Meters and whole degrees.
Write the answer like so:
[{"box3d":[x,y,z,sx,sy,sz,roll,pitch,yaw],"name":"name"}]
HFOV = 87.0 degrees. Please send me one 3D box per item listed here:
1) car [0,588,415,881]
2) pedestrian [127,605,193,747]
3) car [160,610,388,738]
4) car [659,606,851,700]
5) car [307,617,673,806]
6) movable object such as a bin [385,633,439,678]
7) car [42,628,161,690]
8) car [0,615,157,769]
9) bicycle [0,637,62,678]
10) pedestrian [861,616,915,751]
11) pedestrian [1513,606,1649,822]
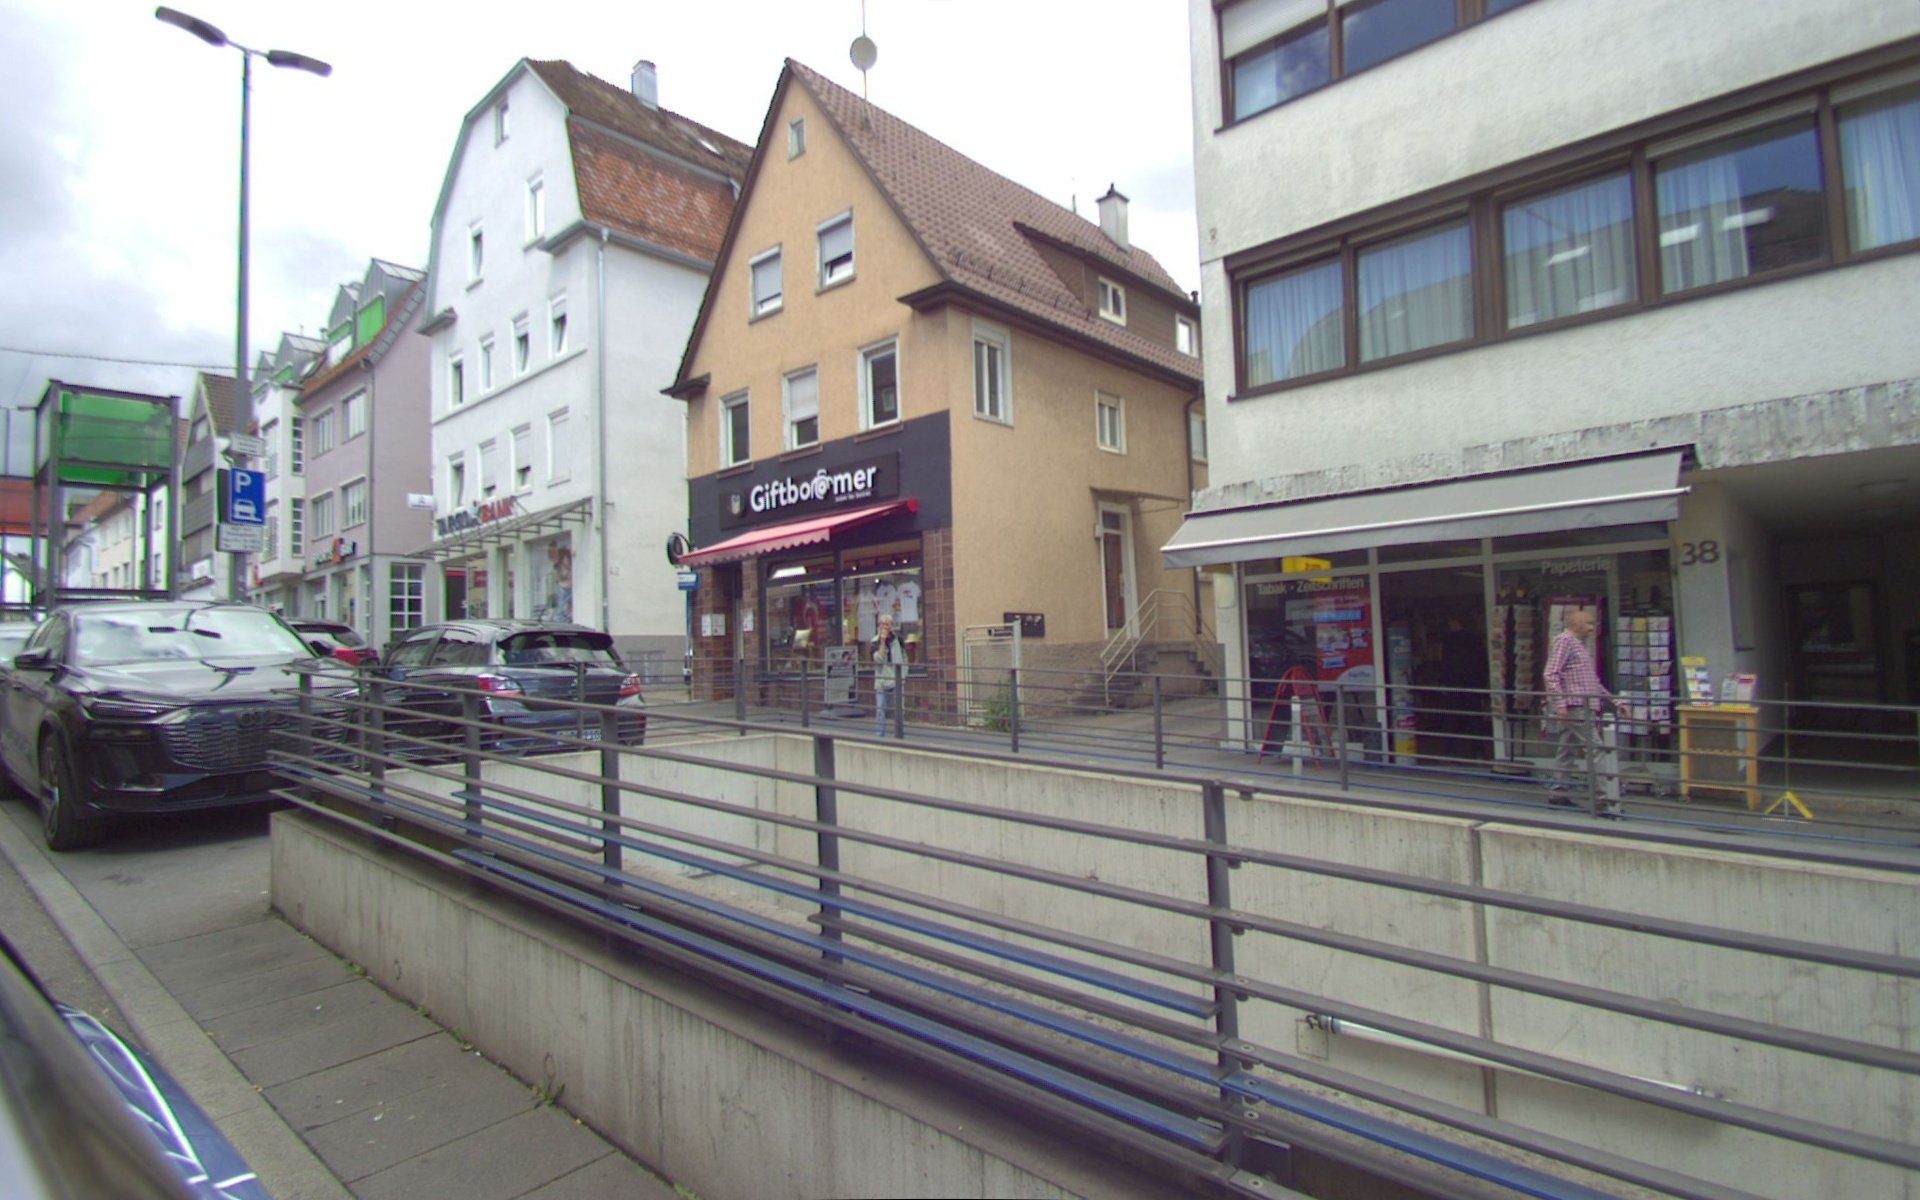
[{"box3d":[-6.151,0.792,7.868,4.311,1.652,1.936,-1,-1,40],"name":"car"},{"box3d":[-9.885,0.916,12.499,0.901,1.685,0.527,-3,-3,44],"name":"pedestrian"},{"box3d":[-9.923,0.961,14.517,4.191,1.554,1.721,-1,-1,41],"name":"car"},{"box3d":[-4.703,1.159,23.607,1.883,1.887,4.026,-2,-1,43],"name":"car"},{"box3d":[-4.710,0.981,9.928,3.881,1.487,1.721,-1,-5,40],"name":"car"},{"box3d":[-17.699,1.770,32.689,1.067,1.387,1.270,-2,-2,41],"name":"movable object such as a bin"},{"box3d":[-22.051,1.479,25.961,3.850,1.486,1.553,-1,-3,38],"name":"car"},{"box3d":[-10.872,0.980,11.908,3.669,1.544,1.603,-1,-1,41],"name":"car"},{"box3d":[-29.065,1.770,31.359,0.459,1.232,1.760,-1,-3,40],"name":"bicycle"},{"box3d":[-0.937,1.064,13.134,0.635,1.702,0.667,0,-3,-9],"name":"pedestrian"},{"box3d":[5.224,0.919,8.525,0.632,1.702,0.828,3,-3,-44],"name":"pedestrian"}]
